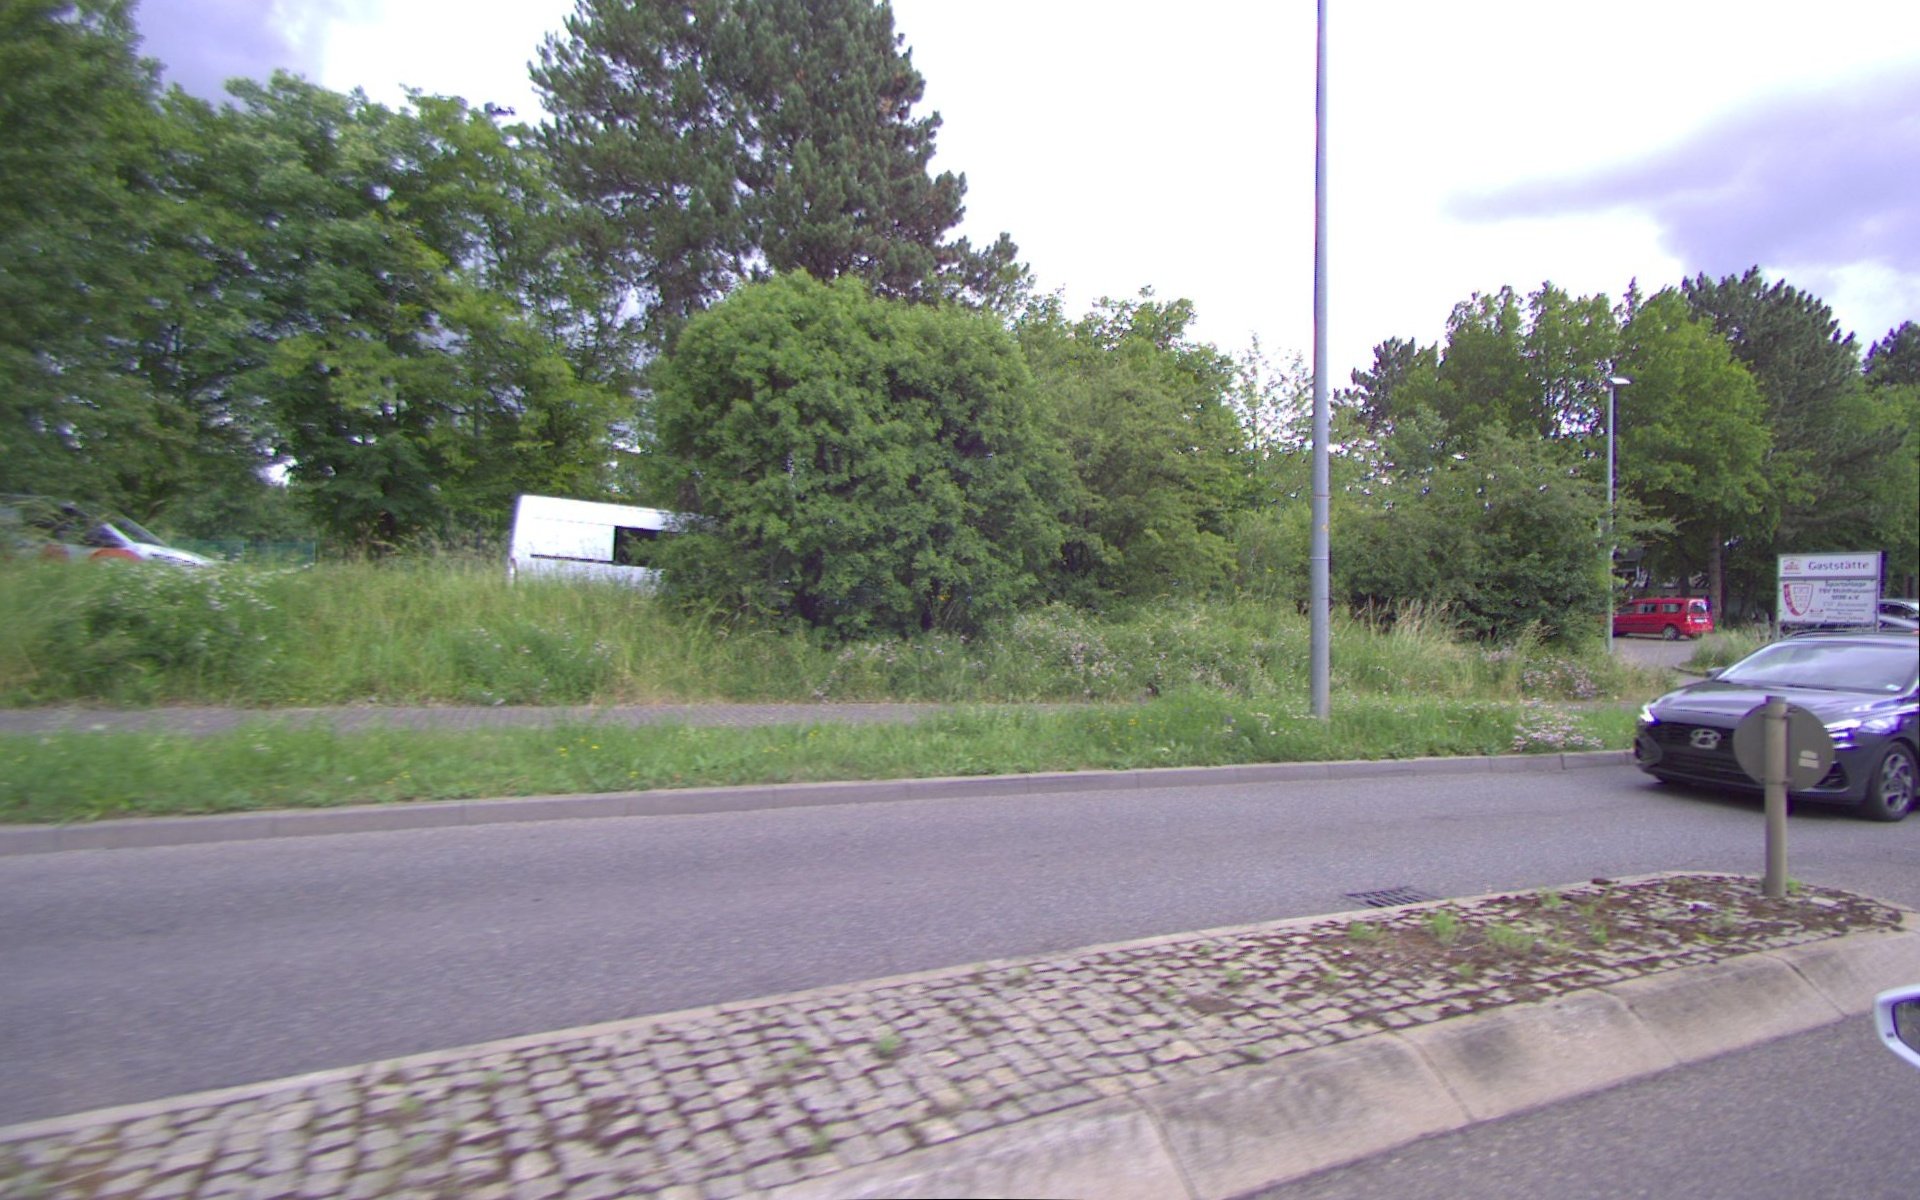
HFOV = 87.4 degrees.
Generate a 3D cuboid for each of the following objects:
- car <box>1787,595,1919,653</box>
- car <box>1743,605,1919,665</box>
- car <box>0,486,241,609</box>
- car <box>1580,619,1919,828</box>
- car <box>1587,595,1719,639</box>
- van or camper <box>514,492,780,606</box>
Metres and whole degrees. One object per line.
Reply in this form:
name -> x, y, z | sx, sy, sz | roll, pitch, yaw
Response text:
car -> 27.236, 0.682, 28.881 | 2.177, 1.606, 4.910 | 1, 0, -25
car -> 23.136, 0.867, 26.101 | 1.974, 1.416, 3.940 | 1, 0, -27
car -> -14.432, -0.772, 15.327 | 5.247, 1.748, 2.134 | 1, 0, -23
car -> 8.124, 0.950, 9.108 | 4.359, 1.458, 1.990 | 1, 1, -20
car -> 28.026, 0.670, 40.725 | 1.976, 1.684, 3.969 | 1, 0, -29
van or camper -> -5.879, -0.856, 18.943 | 4.564, 1.902, 1.989 | 1, 0, -23
